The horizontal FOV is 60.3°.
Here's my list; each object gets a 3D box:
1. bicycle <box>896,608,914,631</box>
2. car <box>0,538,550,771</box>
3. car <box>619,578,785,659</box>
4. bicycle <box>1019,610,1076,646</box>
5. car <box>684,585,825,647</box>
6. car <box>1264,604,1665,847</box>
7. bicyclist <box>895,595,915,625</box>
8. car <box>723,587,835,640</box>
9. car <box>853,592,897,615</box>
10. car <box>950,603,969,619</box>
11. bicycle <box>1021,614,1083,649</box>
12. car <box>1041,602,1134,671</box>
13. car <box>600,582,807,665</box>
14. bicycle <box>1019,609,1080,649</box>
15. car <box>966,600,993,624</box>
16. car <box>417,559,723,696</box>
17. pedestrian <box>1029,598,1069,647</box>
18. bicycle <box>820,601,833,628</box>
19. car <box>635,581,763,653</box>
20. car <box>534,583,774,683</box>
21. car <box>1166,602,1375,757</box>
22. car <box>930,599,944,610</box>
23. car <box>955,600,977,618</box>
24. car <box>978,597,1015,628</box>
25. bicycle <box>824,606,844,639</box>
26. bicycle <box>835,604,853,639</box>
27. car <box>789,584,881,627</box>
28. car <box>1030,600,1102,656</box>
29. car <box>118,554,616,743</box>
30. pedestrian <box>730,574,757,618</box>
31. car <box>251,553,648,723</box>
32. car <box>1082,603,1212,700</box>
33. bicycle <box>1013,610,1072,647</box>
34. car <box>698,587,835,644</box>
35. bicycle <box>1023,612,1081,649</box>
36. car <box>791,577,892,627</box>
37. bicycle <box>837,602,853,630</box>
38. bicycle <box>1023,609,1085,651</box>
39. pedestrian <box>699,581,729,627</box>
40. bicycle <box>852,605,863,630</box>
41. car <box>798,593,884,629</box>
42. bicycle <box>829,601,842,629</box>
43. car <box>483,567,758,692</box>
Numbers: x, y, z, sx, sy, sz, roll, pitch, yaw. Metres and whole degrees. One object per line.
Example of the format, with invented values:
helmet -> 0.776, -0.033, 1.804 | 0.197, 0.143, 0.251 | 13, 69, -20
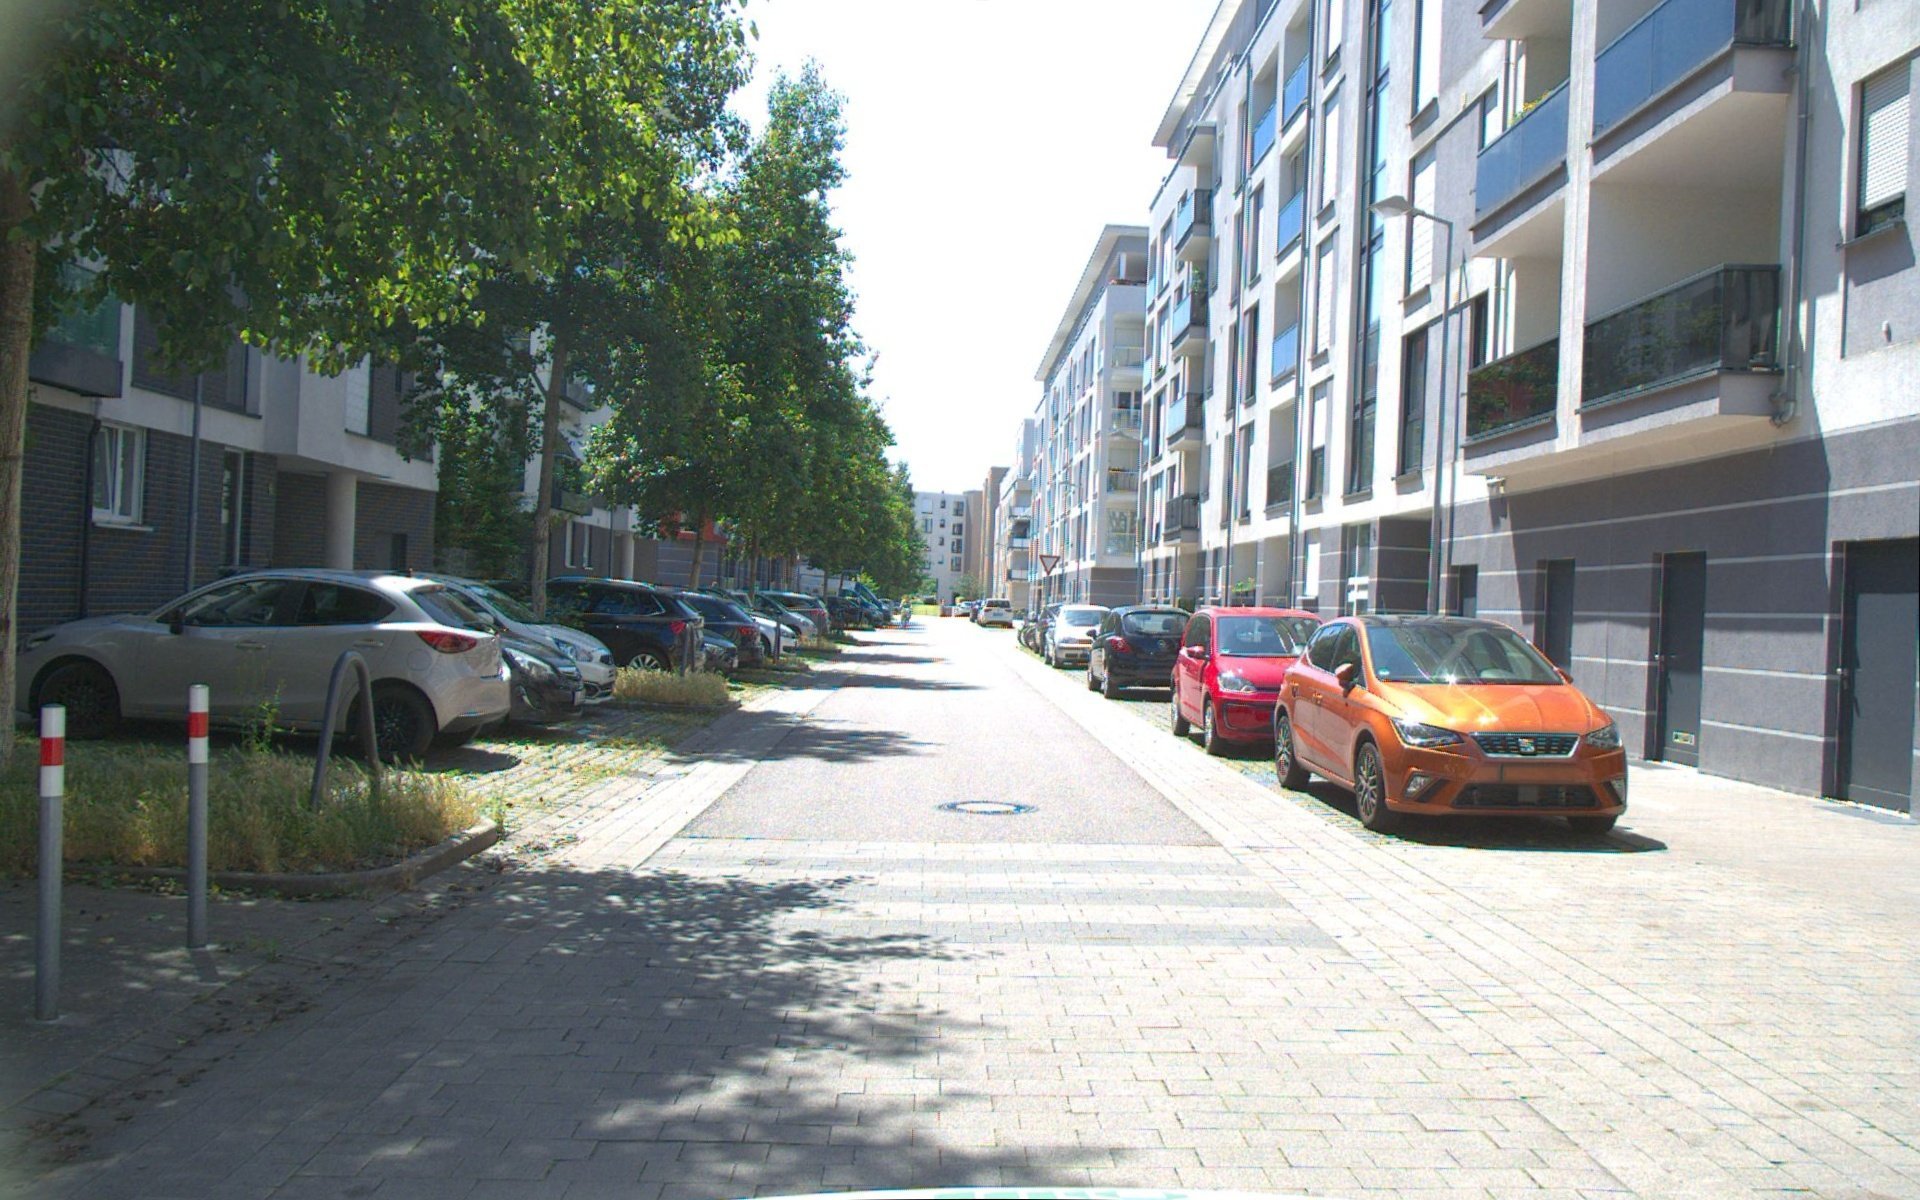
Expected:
bicycle -> -2.808, 0.981, 84.059 | 0.880, 1.149, 2.039 | 2, 0, -2
car -> -5.857, 0.428, 14.074 | 4.167, 1.544, 1.924 | 4, 0, -2
car -> -5.970, 0.420, 38.590 | 3.637, 1.613, 1.818 | 4, -1, -7
bicycle -> 2.857, 0.912, 53.965 | 1.806, 1.168, 0.458 | 1, 0, -21
car -> -6.021, 0.461, 48.755 | 3.858, 1.580, 1.872 | 4, 0, -2
car -> 3.599, 0.801, 12.637 | 1.702, 1.513, 4.257 | 1, 0, -1
bicyclist -> -2.784, 0.510, 84.012 | 0.934, 1.485, 0.799 | 2, 0, -2
car -> -6.165, 0.460, 56.567 | 3.557, 1.547, 1.831 | 4, 0, -1
car -> -8.190, 0.369, 159.107 | 3.903, 2.049, 2.001 | 2, 0, 5
car -> -0.071, 1.284, 190.905 | 1.953, 1.747, 3.998 | 2, 0, -2
bicycle -> 2.924, 1.005, 52.720 | 1.886, 1.053, 0.559 | 1, 0, -5
car -> 2.976, 0.818, 39.317 | 1.797, 1.531, 4.349 | 1, 0, -1
car -> -5.537, 0.505, 36.185 | 4.274, 1.740, 1.999 | 0, 0, -4
bicycle -> 2.880, 0.928, 53.382 | 1.888, 1.239, 0.459 | 1, 0, -10
car -> 1.353, 0.815, 115.156 | 1.721, 1.579, 4.001 | 3, 0, 2
car -> -5.565, 0.381, 23.998 | 3.907, 1.657, 1.933 | 4, 0, -1
pedestrian -> 2.884, 0.733, 53.510 | 1.157, 1.541, 0.686 | 1, 0, -11
bicycle -> -6.282, 0.675, 77.826 | 0.508, 1.225, 1.751 | 3, 1, -3
car -> -6.517, 0.416, 41.582 | 2.874, 1.526, 1.847 | 5, 0, -3
car -> -5.307, 0.566, 29.103 | 3.897, 1.470, 1.774 | 4, 0, -5
car -> 3.294, 0.792, 18.165 | 1.563, 1.512, 3.675 | 0, 0, -1
car -> -3.425, 0.612, 246.949 | 1.953, 1.545, 3.998 | 2, 0, -2
car -> 0.575, 0.849, 163.693 | 1.953, 1.704, 3.998 | 2, 0, -2
car -> 2.062, 0.705, 95.061 | 1.956, 1.686, 4.114 | 1, 0, -1
bicycle -> -4.510, 0.787, 59.091 | 0.426, 1.147, 1.972 | 1, 0, -13
bicycle -> -4.156, 0.769, 59.127 | 0.364, 1.201, 1.815 | 1, 0, -13
car -> -7.150, 0.303, 94.857 | 5.041, 2.156, 2.311 | 3, 0, -1
car -> 3.002, 0.766, 47.637 | 1.703, 1.511, 4.228 | 1, 0, -1
car -> -5.779, 0.458, 16.522 | 4.230, 1.501, 1.792 | 4, 0, -1
pedestrian -> -10.155, -0.176, 77.595 | 0.988, 2.049, 1.129 | 2, 0, 2
car -> -5.770, 0.420, 19.083 | 3.906, 1.619, 1.883 | 4, 0, -1
car -> 3.075, 0.809, 27.900 | 1.609, 1.488, 4.116 | 0, 0, -2
bicycle -> 2.720, 0.936, 54.328 | 1.882, 1.153, 0.609 | 1, 0, 8
car -> -5.980, 0.498, 51.652 | 4.099, 1.512, 1.957 | 3, -1, -5
bicycle -> 2.887, 0.956, 52.026 | 1.751, 1.123, 0.746 | 1, 0, -5
car -> -7.115, 0.102, 100.290 | 5.902, 2.865, 2.604 | 1, 0, -1
bicycle -> -5.400, 0.750, 77.585 | 0.559, 1.194, 1.766 | 5, 1, -8
bicycle -> 2.912, 0.922, 51.280 | 1.833, 1.239, 0.715 | 1, 0, -5
pedestrian -> -9.467, 0.142, 63.762 | 0.979, 1.720, 0.832 | 2, 0, -1
bicycle -> -4.826, 0.826, 77.816 | 0.456, 1.161, 1.925 | 2, 0, -3
car -> -6.281, 0.576, 87.688 | 4.295, 1.541, 2.075 | 4, 0, -1
bicycle -> -5.823, 0.703, 77.582 | 0.425, 1.225, 1.700 | 3, 1, 0
car -> -5.370, 0.456, 26.528 | 3.905, 1.679, 1.918 | 4, 0, 0
